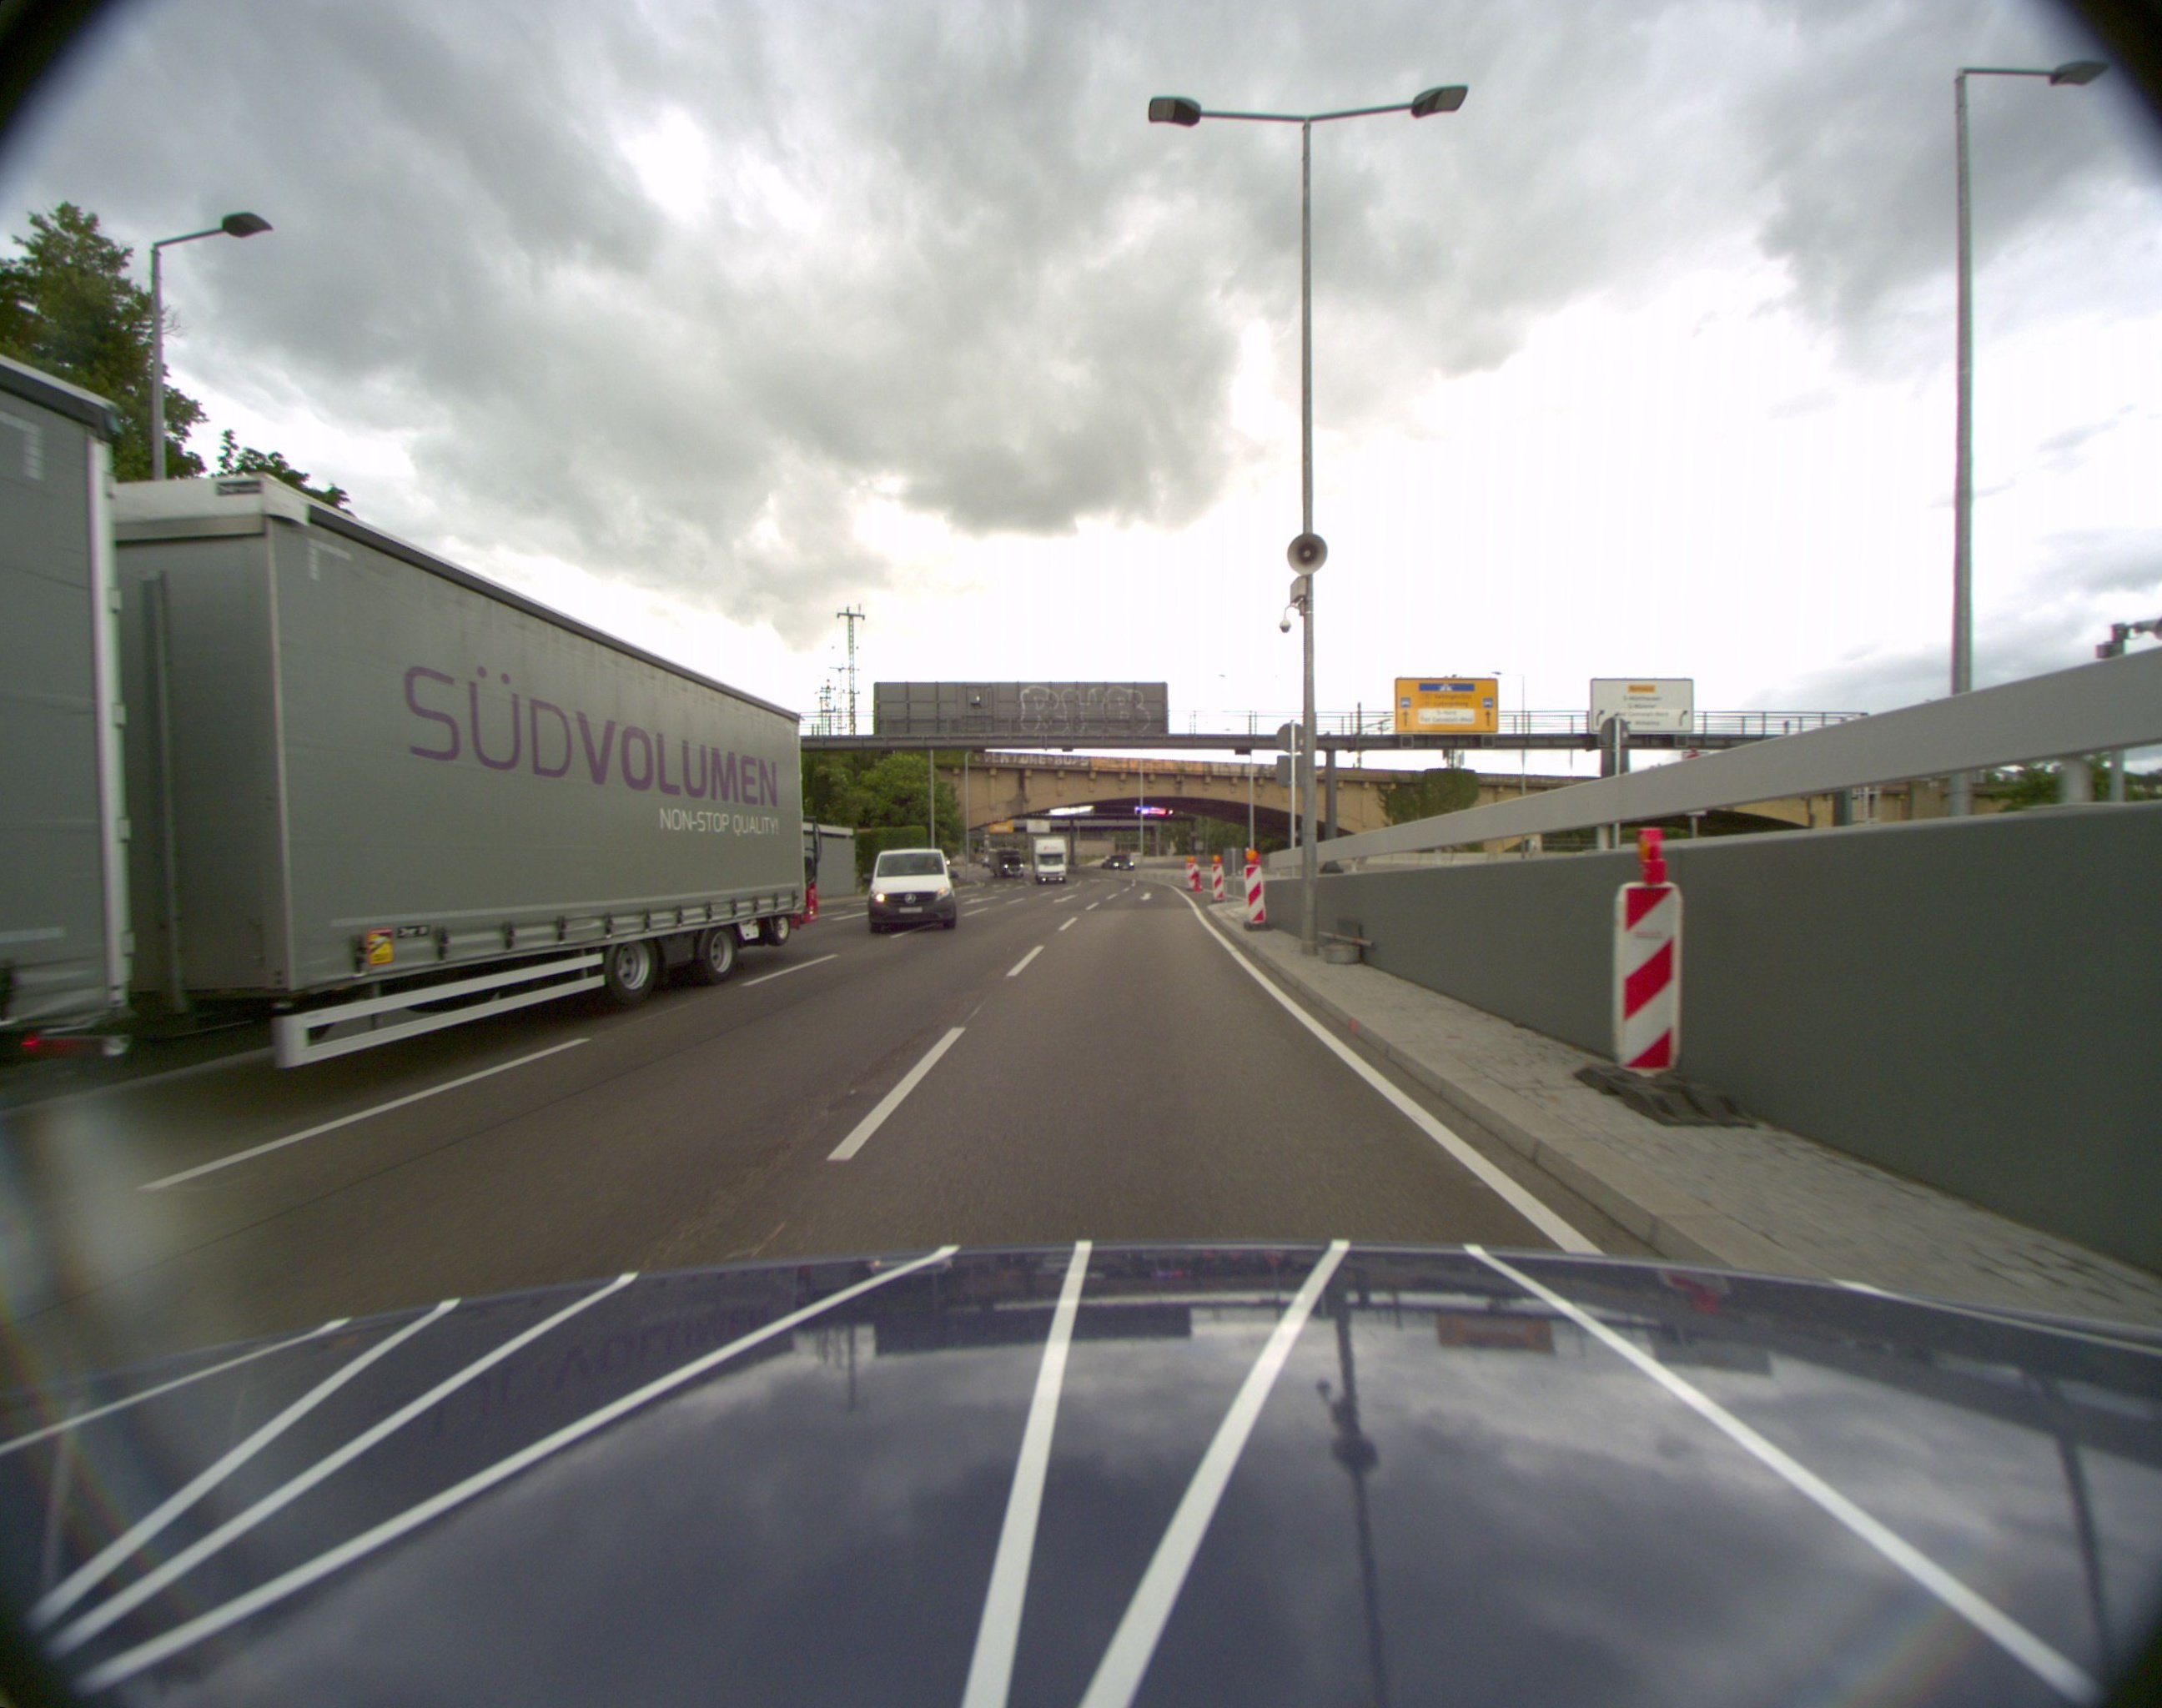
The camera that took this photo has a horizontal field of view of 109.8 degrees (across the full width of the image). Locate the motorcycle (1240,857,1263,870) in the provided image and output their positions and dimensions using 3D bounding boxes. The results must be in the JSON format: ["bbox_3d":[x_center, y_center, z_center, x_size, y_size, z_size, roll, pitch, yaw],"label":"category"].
[{"bbox_3d":[13.349,0.742,59.554,0.667,0.911,2.392,-2,-1,-14],"label":"motorcycle"}]

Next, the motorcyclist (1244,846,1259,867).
[{"bbox_3d":[13.330,0.232,59.551,0.667,1.596,1.102,-2,0,-14],"label":"motorcyclist"}]

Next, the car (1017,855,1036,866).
[{"bbox_3d":[-9.718,1.158,134.716,2.002,1.575,4.130,-3,-2,-24],"label":"car"}]

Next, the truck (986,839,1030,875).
[{"bbox_3d":[-7.903,0.323,81.454,2.578,3.547,9.100,-2,0,-19],"label":"truck"}]

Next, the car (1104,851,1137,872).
[{"bbox_3d":[3.455,0.659,67.563,1.869,1.827,4.201,-1,0,-12],"label":"car"}]

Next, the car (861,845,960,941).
[{"bbox_3d":[-4.131,0.835,18.836,2.000,1.978,5.194,-2,0,-11],"label":"car"}]

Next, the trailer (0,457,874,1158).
[{"bbox_3d":[-6.433,-0.222,10.072,3.733,4.117,10.985,-2,0,3],"label":"trailer"}]

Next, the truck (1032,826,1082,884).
[{"bbox_3d":[-1.739,0.029,54.437,3.033,3.566,8.947,-4,1,-2],"label":"truck"}]
